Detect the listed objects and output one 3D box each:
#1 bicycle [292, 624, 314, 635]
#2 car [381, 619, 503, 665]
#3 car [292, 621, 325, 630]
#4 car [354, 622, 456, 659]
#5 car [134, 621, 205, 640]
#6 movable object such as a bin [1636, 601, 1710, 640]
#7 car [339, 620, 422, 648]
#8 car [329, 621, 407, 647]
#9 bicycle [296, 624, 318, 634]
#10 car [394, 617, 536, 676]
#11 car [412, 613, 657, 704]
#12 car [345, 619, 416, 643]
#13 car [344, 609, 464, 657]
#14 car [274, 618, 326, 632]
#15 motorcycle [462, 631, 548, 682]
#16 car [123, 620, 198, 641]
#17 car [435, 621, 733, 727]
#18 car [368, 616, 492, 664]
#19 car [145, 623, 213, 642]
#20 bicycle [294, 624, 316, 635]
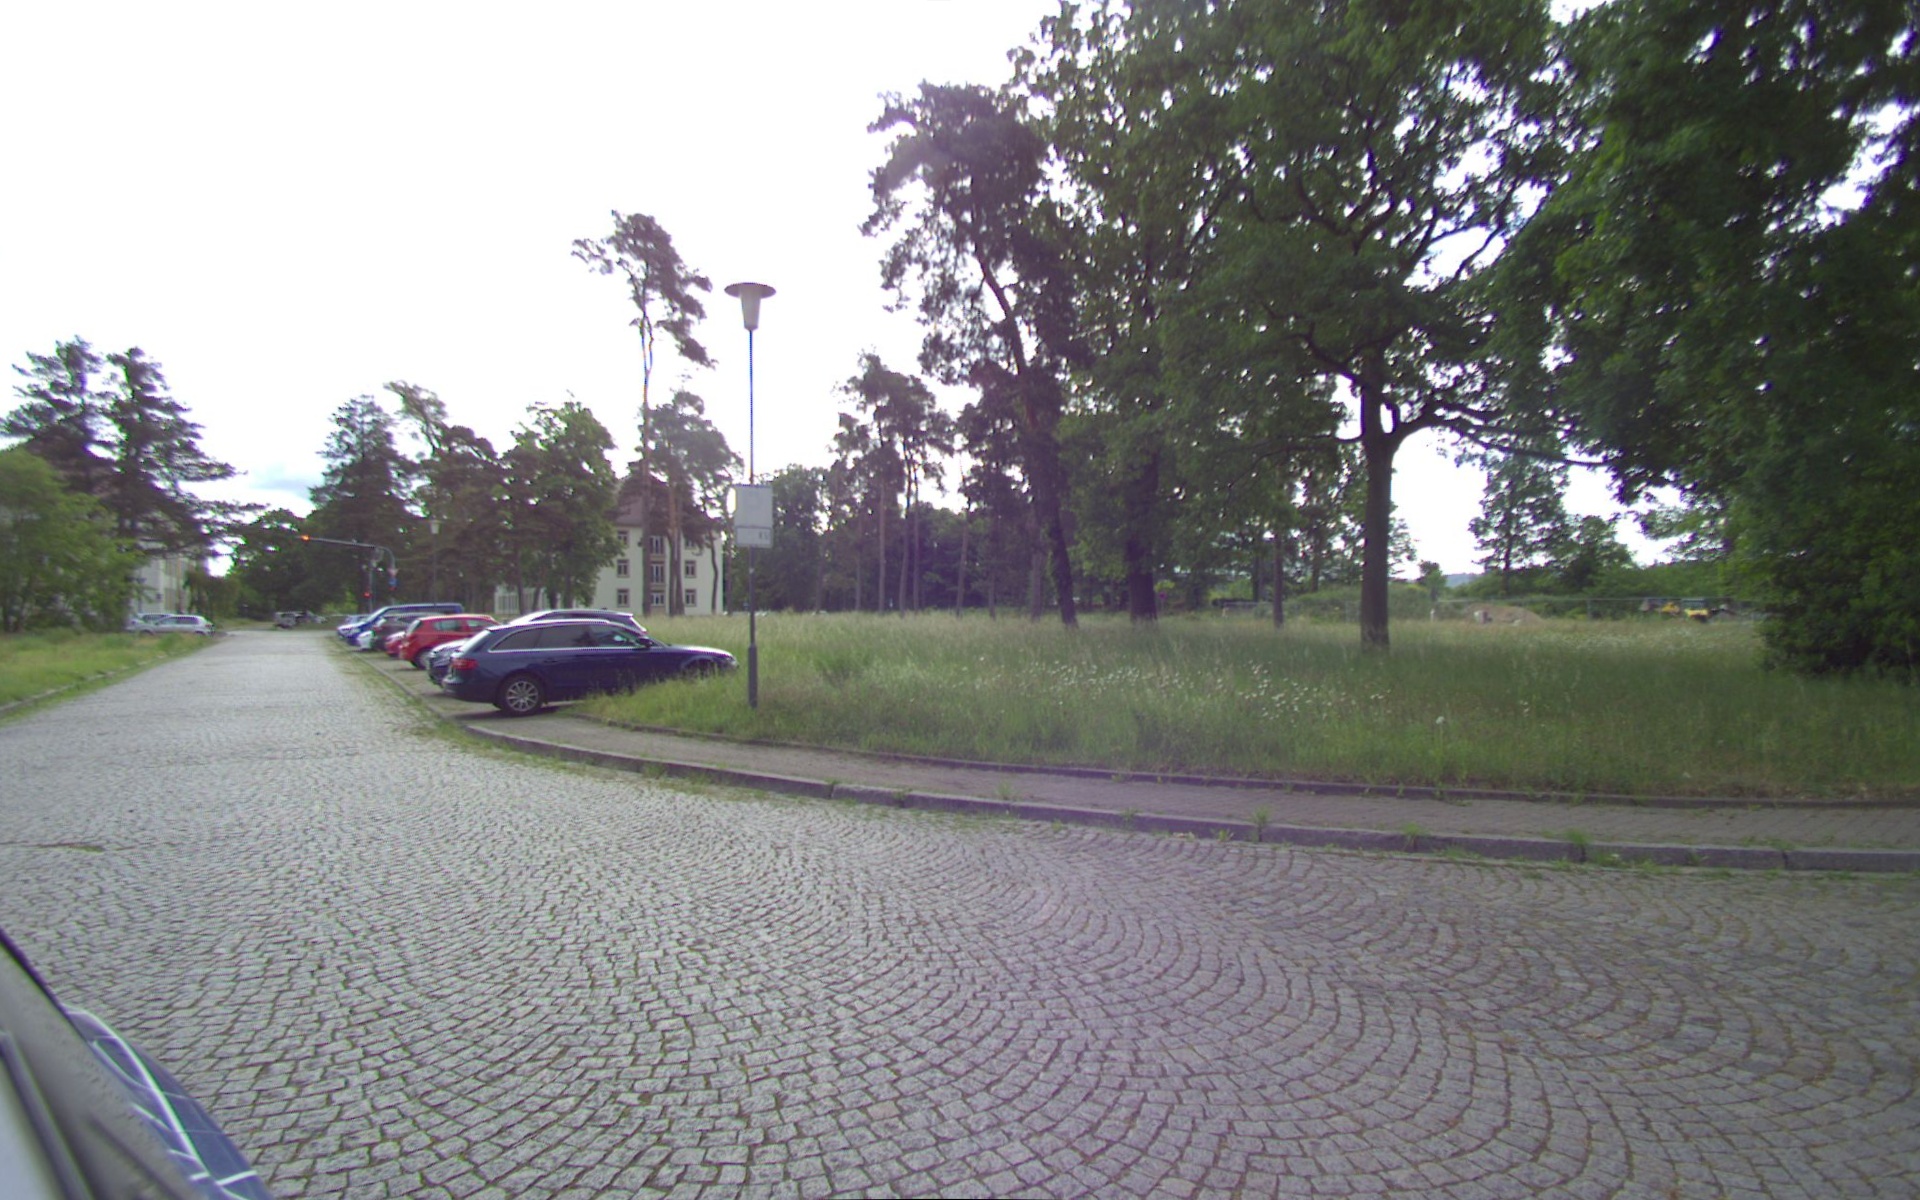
[{"bbox_3d":[-67.662,3.012,104.291,1.833,1.103,0.511,1,-1,-41],"label":"bicycle"},{"bbox_3d":[-18.230,1.449,35.663,3.603,1.432,1.581,-2,0,-35],"label":"car"},{"bbox_3d":[-75.135,2.914,116.782,3.070,1.060,1.342,0,-1,-41],"label":"car"},{"bbox_3d":[-23.557,1.690,43.000,3.634,1.349,1.588,-2,0,-35],"label":"car"},{"bbox_3d":[-45.813,1.750,58.708,3.216,1.095,1.453,0,-1,-37],"label":"car"},{"bbox_3d":[49.848,1.438,70.933,1.977,2.575,5.333,0,-1,8],"label":"movable object such as a bin"},{"bbox_3d":[-32.516,1.894,56.841,3.888,1.349,1.588,-2,0,-35],"label":"car"},{"bbox_3d":[-35.272,2.010,60.289,3.888,1.349,1.588,-2,0,-35],"label":"car"},{"bbox_3d":[-68.079,3.019,105.537,1.833,1.103,0.511,1,-1,-41],"label":"bicycle"},{"bbox_3d":[-14.215,1.285,29.105,3.442,1.493,1.606,-2,0,-35],"label":"car"},{"bbox_3d":[-8.566,1.101,20.521,4.293,1.574,1.768,-1,0,-35],"label":"car"},{"bbox_3d":[-37.504,1.980,65.518,3.888,1.349,1.588,-2,0,-35],"label":"car"},{"bbox_3d":[-24.810,1.441,45.212,4.470,1.916,1.798,-2,0,-35],"label":"car"},{"bbox_3d":[-77.635,2.891,119.074,4.909,1.634,1.904,0,-1,-41],"label":"car"},{"bbox_3d":[-11.418,1.401,25.424,1.884,1.202,0.551,0,-1,-39],"label":"motorcycle"},{"bbox_3d":[-49.537,1.866,62.747,3.536,1.220,1.588,0,-1,-35],"label":"car"},{"bbox_3d":[-6.075,1.104,16.468,4.281,1.415,1.769,-1,0,-31],"label":"car"},{"bbox_3d":[-19.814,1.453,37.867,3.888,1.557,1.768,-2,0,-35],"label":"car"},{"bbox_3d":[-46.959,1.955,60.899,3.216,1.095,1.400,0,-1,-37],"label":"car"},{"bbox_3d":[-67.783,3.012,104.737,1.833,1.103,0.511,1,-1,-41],"label":"bicycle"}]
